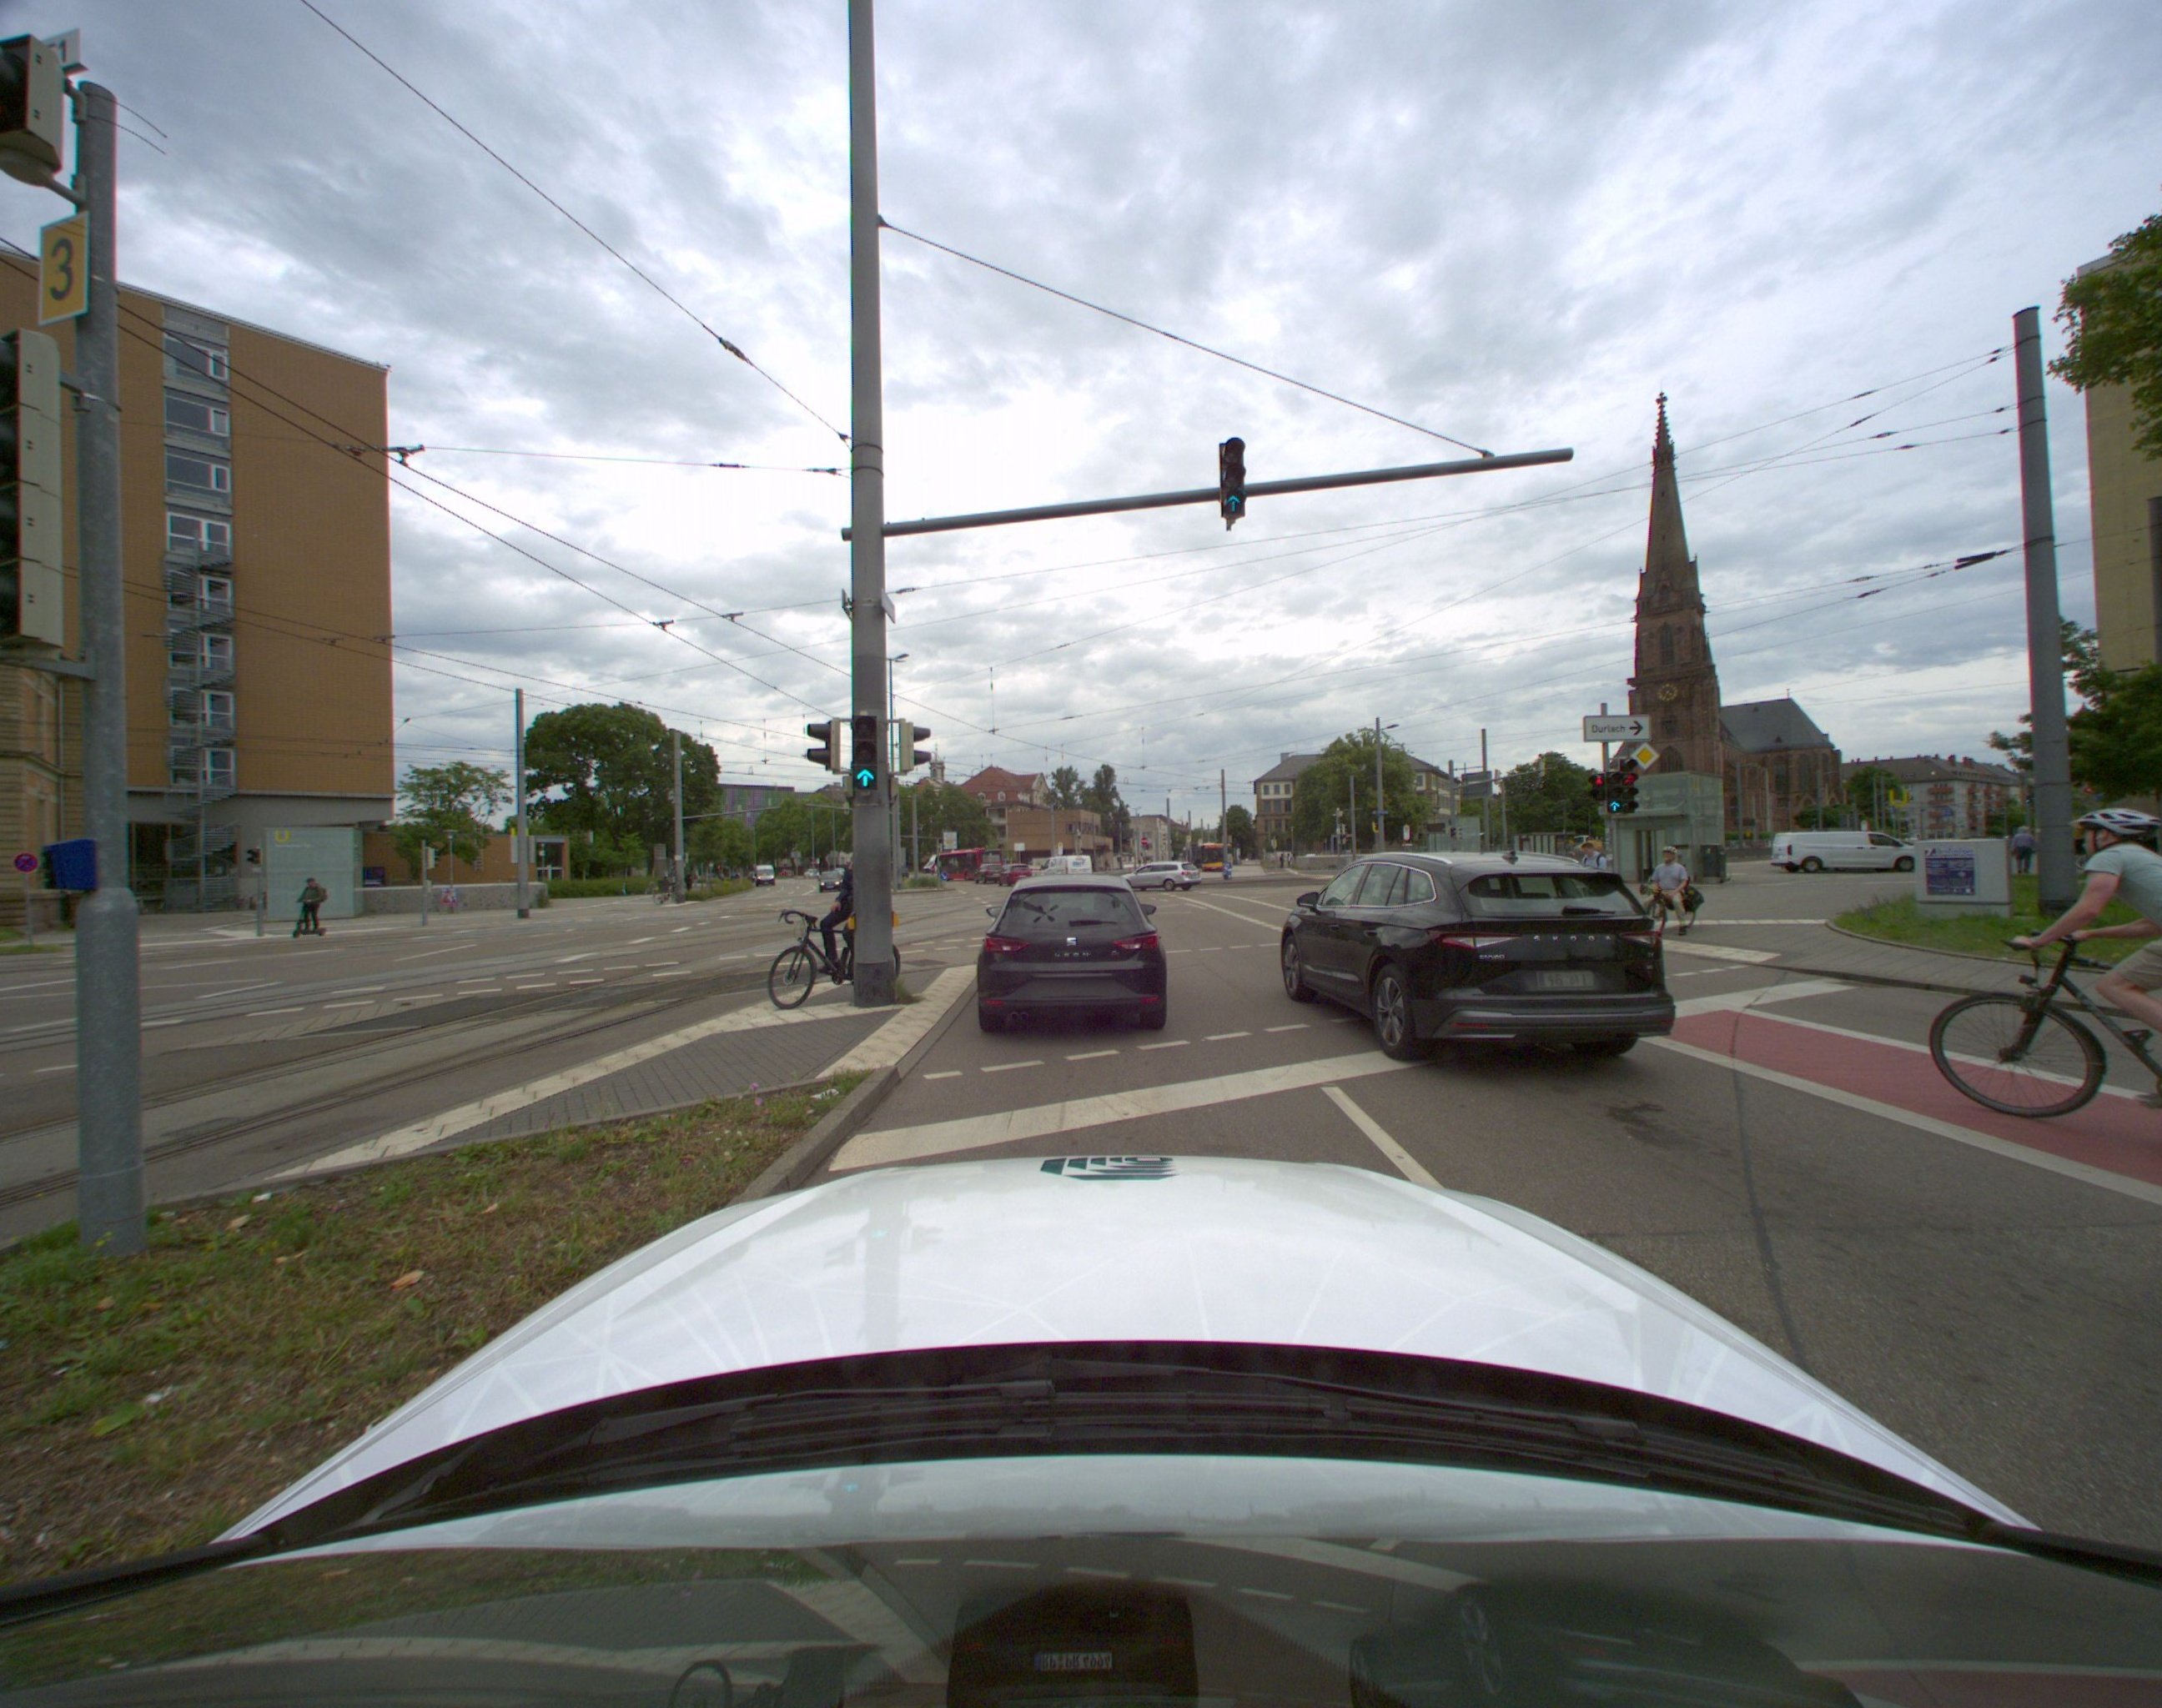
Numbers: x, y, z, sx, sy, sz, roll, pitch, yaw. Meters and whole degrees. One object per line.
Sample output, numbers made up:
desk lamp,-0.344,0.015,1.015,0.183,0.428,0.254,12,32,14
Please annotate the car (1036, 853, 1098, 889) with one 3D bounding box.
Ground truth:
car,-0.933,1.053,50.705,2.003,2.019,4.991,-2,-1,-24

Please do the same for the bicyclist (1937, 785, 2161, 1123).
bicyclist,5.510,0.479,4.387,0.786,1.618,0.933,0,-1,-1

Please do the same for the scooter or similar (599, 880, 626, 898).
scooter or similar,-36.980,2.784,64.314,1.782,1.302,0.624,-2,-1,-31

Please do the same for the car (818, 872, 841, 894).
car,-19.121,2.184,61.912,1.623,1.515,3.643,-3,0,-18

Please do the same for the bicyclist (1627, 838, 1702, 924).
bicyclist,11.000,0.498,15.363,0.886,1.521,0.667,-5,0,-19

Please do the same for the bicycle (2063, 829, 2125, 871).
bicycle,35.624,-0.155,28.621,2.792,1.377,0.895,-2,-1,-30

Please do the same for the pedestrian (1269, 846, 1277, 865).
pedestrian,42.030,0.338,178.177,1.382,4.254,1.347,-2,-1,1

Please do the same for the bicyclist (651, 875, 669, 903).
bicyclist,-25.919,2.164,50.154,0.814,1.656,0.790,1,3,-16

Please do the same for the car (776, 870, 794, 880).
car,-53.962,3.838,148.261,2.009,1.772,3.955,-1,-1,-37

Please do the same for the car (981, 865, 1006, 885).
car,-7.345,1.715,68.575,1.990,1.566,4.197,-2,-1,-5

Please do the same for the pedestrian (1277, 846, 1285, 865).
pedestrian,43.806,0.341,177.953,1.302,4.254,1.347,-2,-1,1

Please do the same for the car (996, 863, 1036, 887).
car,-4.762,1.511,59.072,1.864,1.600,4.177,-2,-1,-19

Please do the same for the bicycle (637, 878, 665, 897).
bicycle,-35.370,2.755,67.041,0.842,1.449,2.258,-2,-1,6

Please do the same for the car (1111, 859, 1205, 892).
car,3.983,1.137,42.526,4.568,1.482,1.737,-3,0,37

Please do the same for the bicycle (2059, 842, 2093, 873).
bicycle,39.964,0.146,32.706,2.049,1.169,0.662,-2,0,-35

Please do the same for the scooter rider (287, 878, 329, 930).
scooter rider,-25.280,1.623,26.645,0.562,1.628,0.826,-2,-1,22

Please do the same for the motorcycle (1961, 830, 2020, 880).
motorcycle,26.705,0.023,23.903,2.305,1.366,1.034,-2,0,-40

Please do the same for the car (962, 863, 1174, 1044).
car,-0.132,0.846,8.784,1.741,1.464,3.998,-1,-1,-1

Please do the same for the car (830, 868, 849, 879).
car,-39.972,3.264,134.700,2.008,1.750,3.958,-1,-1,-33

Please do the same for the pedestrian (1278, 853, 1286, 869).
pedestrian,23.882,0.840,96.812,0.817,1.853,1.025,-2,-1,17

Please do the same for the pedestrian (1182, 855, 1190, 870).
pedestrian,12.872,1.017,99.851,0.817,1.808,1.025,-2,-1,17

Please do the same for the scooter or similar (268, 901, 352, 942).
scooter or similar,-25.239,2.189,26.697,0.567,1.165,1.917,-2,-1,22

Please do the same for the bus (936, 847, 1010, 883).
bus,-11.167,1.212,82.384,3.077,3.298,12.261,-1,-1,-29

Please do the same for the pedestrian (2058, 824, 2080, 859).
pedestrian,49.899,-0.652,41.139,0.829,1.715,0.610,-2,-1,-43

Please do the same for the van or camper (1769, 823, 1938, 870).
van or camper,36.783,-0.336,38.977,5.403,1.979,2.183,-2,-1,19

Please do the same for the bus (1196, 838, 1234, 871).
bus,15.001,0.103,90.242,2.995,3.268,13.091,-2,-1,14

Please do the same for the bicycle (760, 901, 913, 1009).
bicycle,-2.846,1.136,9.569,1.622,1.070,0.522,-2,-1,-39

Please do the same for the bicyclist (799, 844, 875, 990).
bicyclist,-2.866,0.712,9.566,0.658,1.639,0.512,-1,-1,-38

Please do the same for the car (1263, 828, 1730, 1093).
car,3.237,0.709,7.592,1.898,1.658,4.511,-2,-1,-2

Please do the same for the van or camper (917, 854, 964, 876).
van or camper,-23.149,1.737,134.690,7.193,3.332,2.841,-2,-2,-43

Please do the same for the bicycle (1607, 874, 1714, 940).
bicycle,10.903,0.974,15.318,1.946,0.998,0.598,-5,0,-20

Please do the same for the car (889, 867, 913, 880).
car,-23.498,2.581,106.301,2.006,1.539,3.961,-1,-1,-30

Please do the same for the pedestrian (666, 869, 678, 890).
pedestrian,-35.085,2.196,69.813,0.748,1.733,0.683,-2,0,-14

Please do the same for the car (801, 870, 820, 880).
car,-45.592,3.523,137.095,2.008,1.640,3.957,-1,-1,-35

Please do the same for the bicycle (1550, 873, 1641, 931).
bicycle,10.673,0.972,16.877,1.996,0.998,0.575,-4,0,-26

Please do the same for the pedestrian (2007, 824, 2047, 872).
pedestrian,34.632,-0.219,29.816,0.910,1.737,0.804,-2,0,-34

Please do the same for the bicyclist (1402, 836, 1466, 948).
bicyclist,5.572,0.580,12.893,0.614,1.690,0.805,-2,0,-1

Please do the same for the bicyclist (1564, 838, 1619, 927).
bicyclist,10.521,0.575,16.800,0.736,1.751,0.581,-3,0,-26

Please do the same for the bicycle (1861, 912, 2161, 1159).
bicycle,5.523,0.917,4.350,0.759,1.079,2.015,0,-1,-1

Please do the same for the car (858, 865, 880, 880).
car,-31.032,2.697,119.336,2.007,2.014,3.960,-1,-1,-32

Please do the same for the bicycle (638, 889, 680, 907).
bicycle,-25.980,2.727,50.153,2.117,1.028,0.791,1,2,-16

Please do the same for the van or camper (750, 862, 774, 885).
van or camper,-38.229,2.365,97.595,2.290,2.527,5.527,-3,0,-25

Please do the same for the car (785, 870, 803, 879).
car,-55.272,3.987,156.905,2.010,1.750,3.953,-1,-1,-40
